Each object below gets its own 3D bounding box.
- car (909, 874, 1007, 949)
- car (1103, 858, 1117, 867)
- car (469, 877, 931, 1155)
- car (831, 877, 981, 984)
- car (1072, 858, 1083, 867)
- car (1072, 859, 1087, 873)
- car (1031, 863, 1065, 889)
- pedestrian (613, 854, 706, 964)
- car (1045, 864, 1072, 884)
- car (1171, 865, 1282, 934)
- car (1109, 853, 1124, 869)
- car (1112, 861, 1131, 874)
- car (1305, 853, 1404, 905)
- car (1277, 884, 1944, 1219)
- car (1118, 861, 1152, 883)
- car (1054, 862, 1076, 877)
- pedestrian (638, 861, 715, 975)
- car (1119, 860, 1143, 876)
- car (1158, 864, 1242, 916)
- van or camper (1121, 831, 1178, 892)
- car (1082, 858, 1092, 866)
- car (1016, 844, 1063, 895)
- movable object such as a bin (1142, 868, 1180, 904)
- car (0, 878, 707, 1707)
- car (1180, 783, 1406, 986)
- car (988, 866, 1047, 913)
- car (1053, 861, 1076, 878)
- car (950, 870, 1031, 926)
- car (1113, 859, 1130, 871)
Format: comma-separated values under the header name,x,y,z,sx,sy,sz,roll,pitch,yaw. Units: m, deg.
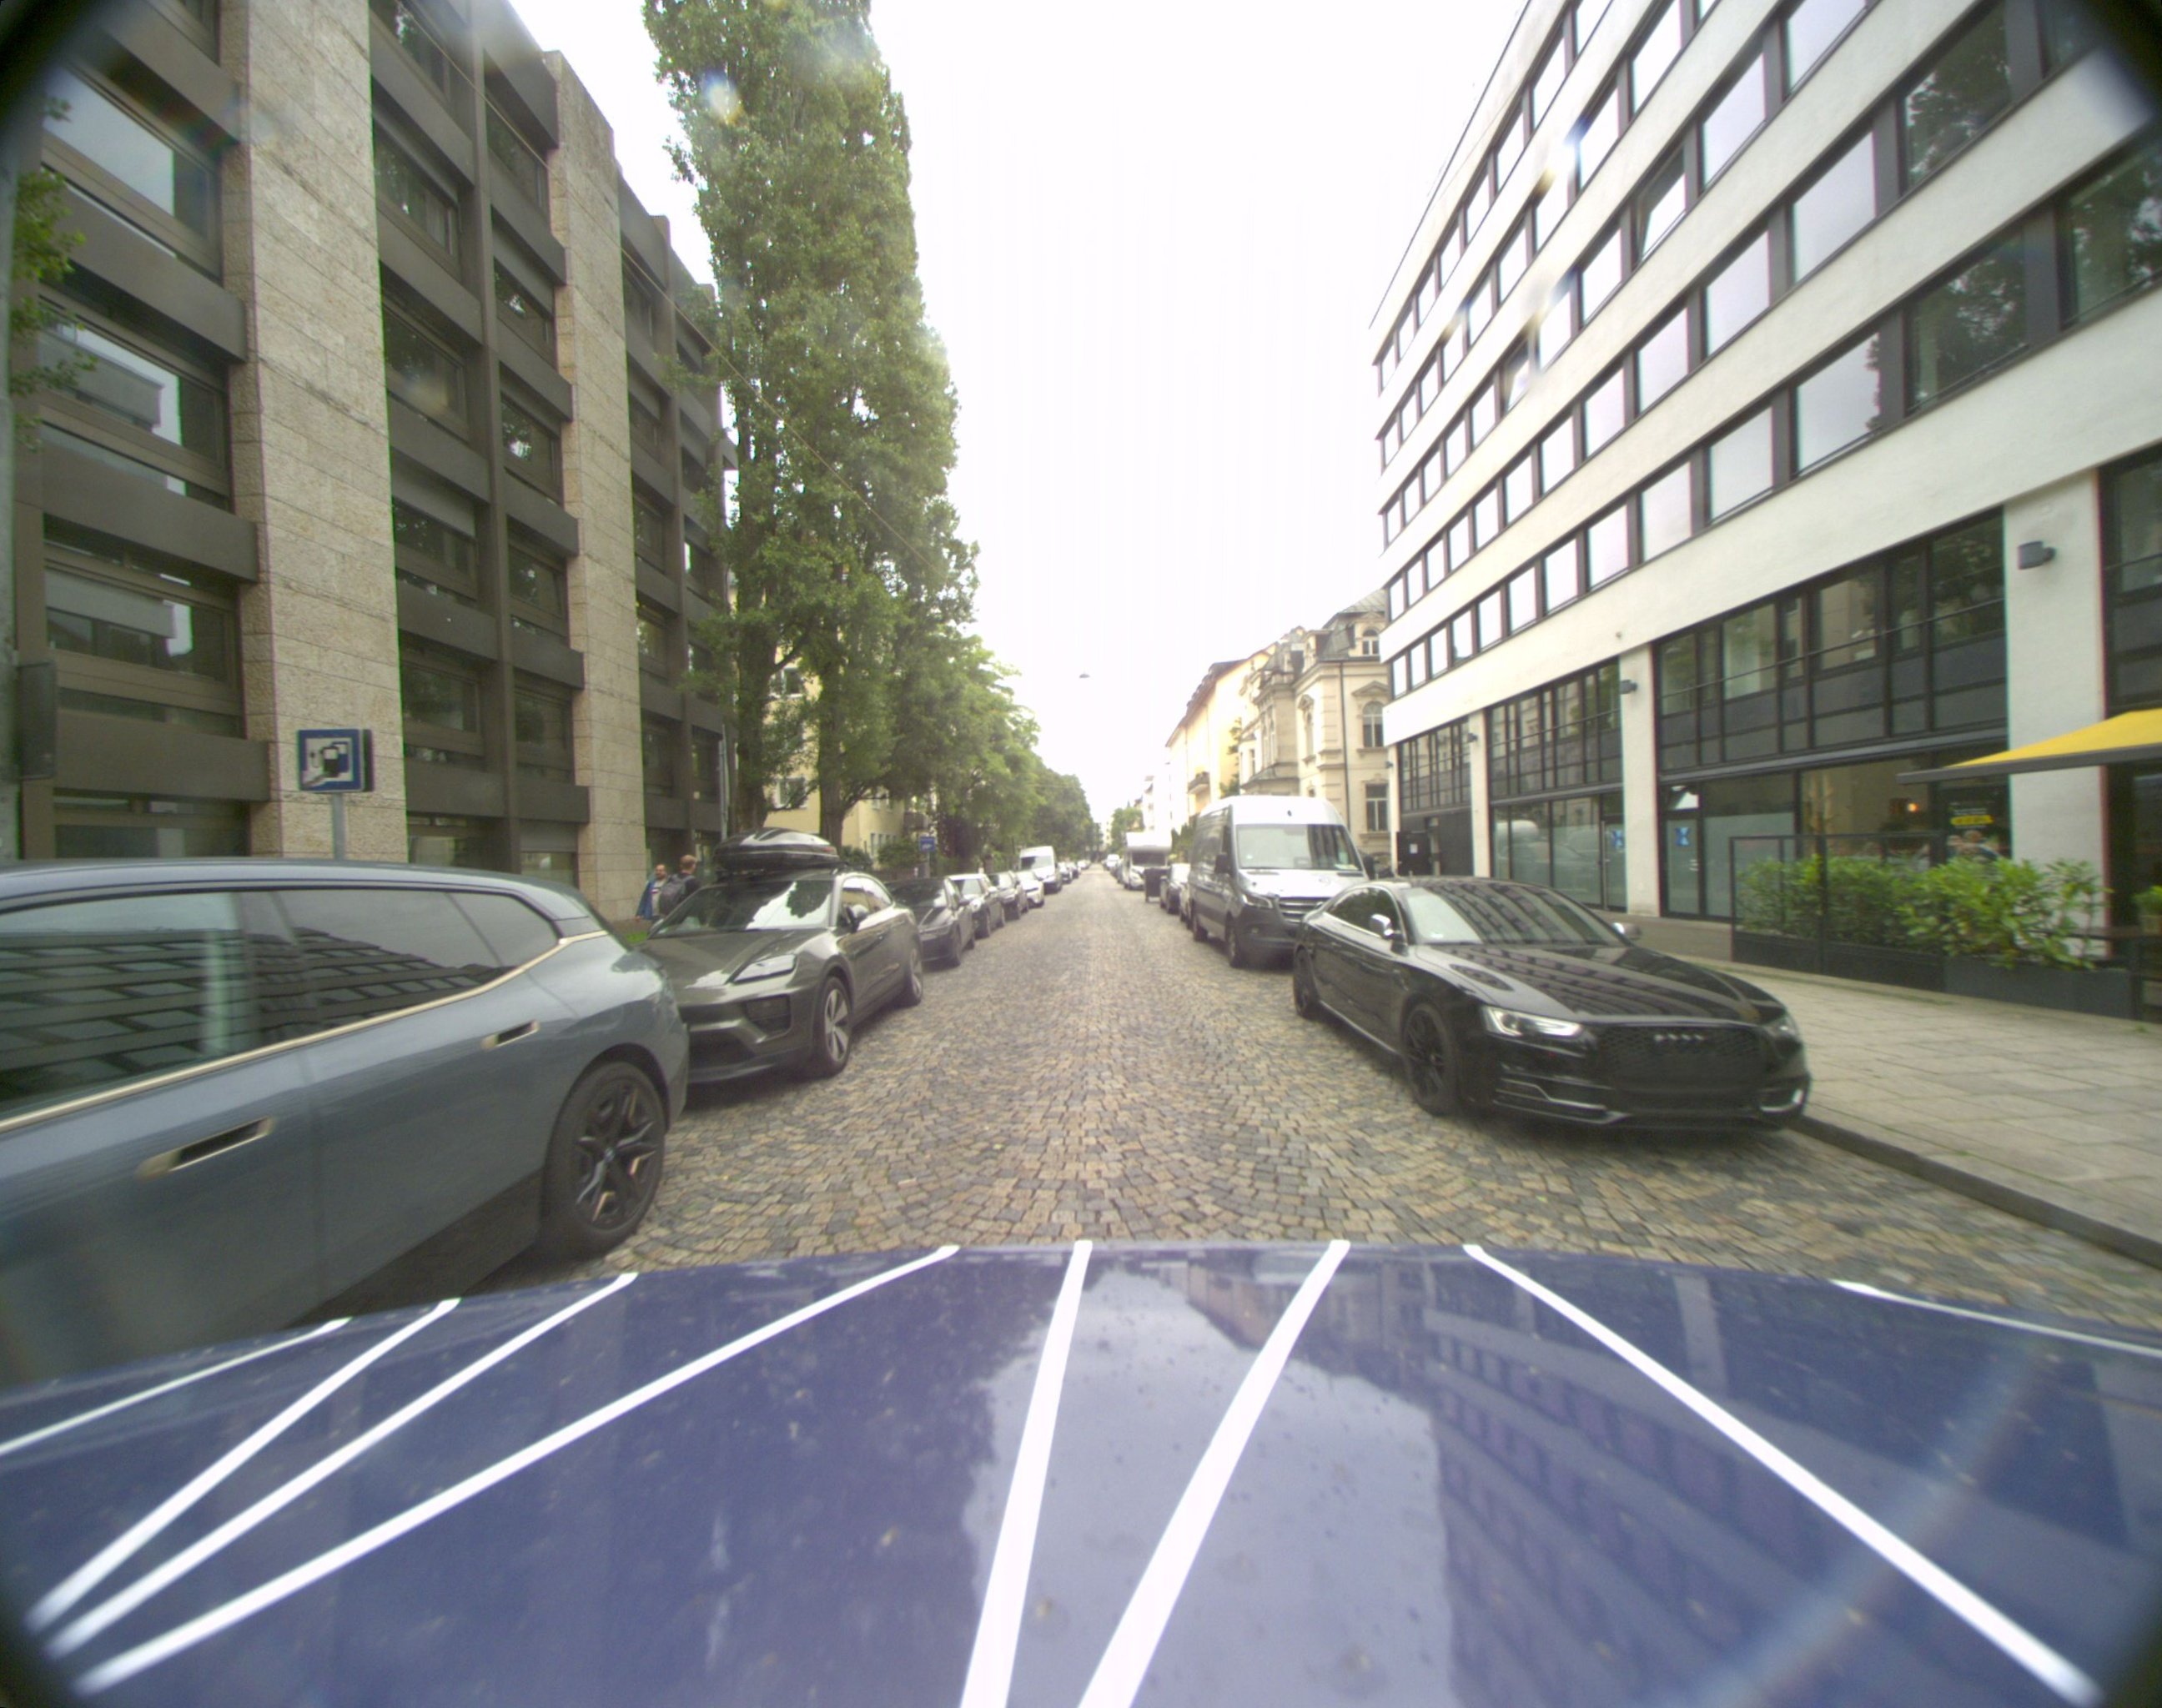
name,x,y,z,sx,sy,sz,roll,pitch,yaw
car,-2.800,1.275,18.010,1.604,1.422,3.562,-4,0,1
car,4.366,1.278,115.393,1.999,1.401,3.872,0,1,-1
car,-2.870,1.106,7.041,1.998,1.573,4.342,-3,0,0
car,-2.831,1.176,13.183,1.724,1.382,4.204,-2,0,-2
car,-0.702,1.814,154.848,1.999,1.680,3.873,-3,0,-1
car,-0.275,1.659,106.504,1.999,1.680,3.873,-3,0,-1
car,-2.025,1.328,47.544,1.999,1.379,3.873,-3,0,-1
pedestrian,-6.837,0.870,12.353,0.867,1.704,0.913,-2,0,21
car,-1.722,1.543,59.282,1.999,1.379,3.873,-3,0,-1
car,3.418,1.025,18.616,1.998,1.422,4.000,-2,0,1
car,5.863,1.145,126.360,2.087,2.418,5.610,-3,0,0
car,4.807,1.578,90.695,1.999,1.401,3.873,-3,0,-1
car,9.038,0.778,25.494,1.912,1.523,4.170,-2,0,2
car,2.955,0.989,5.537,1.998,1.322,4.116,-2,0,1
car,3.761,1.235,53.764,1.999,1.379,3.873,-3,0,-1
car,-1.577,1.490,75.194,1.999,1.379,3.873,-2,0,-1
pedestrian,-5.681,0.878,10.708,0.645,1.528,0.709,-2,0,-1
car,4.705,1.328,71.994,1.999,1.401,3.873,-2,0,-1
car,3.534,1.040,23.341,1.998,1.380,4.000,-2,0,1
van or camper,3.689,0.392,42.451,2.463,3.029,7.317,-2,0,0
car,1.289,1.742,168.031,1.999,1.680,3.873,-3,0,-1
car,-2.151,0.796,40.686,2.087,2.418,5.610,-3,0,0
movable object such as a bin,3.010,1.184,28.779,1.255,1.290,1.174,-2,0,-2
car,-2.964,1.009,1.526,2.018,1.690,4.673,-3,0,0
car,3.031,0.392,12.434,2.064,2.476,5.849,-2,0,1
car,-2.310,1.259,28.393,1.867,1.490,3.873,-3,0,-1
car,-1.469,1.381,68.222,1.999,1.379,3.873,-2,0,-1
car,-2.636,1.258,23.040,1.999,1.379,3.873,-3,0,-1
car,5.439,1.486,102.519,1.999,1.401,3.873,-3,0,-1
